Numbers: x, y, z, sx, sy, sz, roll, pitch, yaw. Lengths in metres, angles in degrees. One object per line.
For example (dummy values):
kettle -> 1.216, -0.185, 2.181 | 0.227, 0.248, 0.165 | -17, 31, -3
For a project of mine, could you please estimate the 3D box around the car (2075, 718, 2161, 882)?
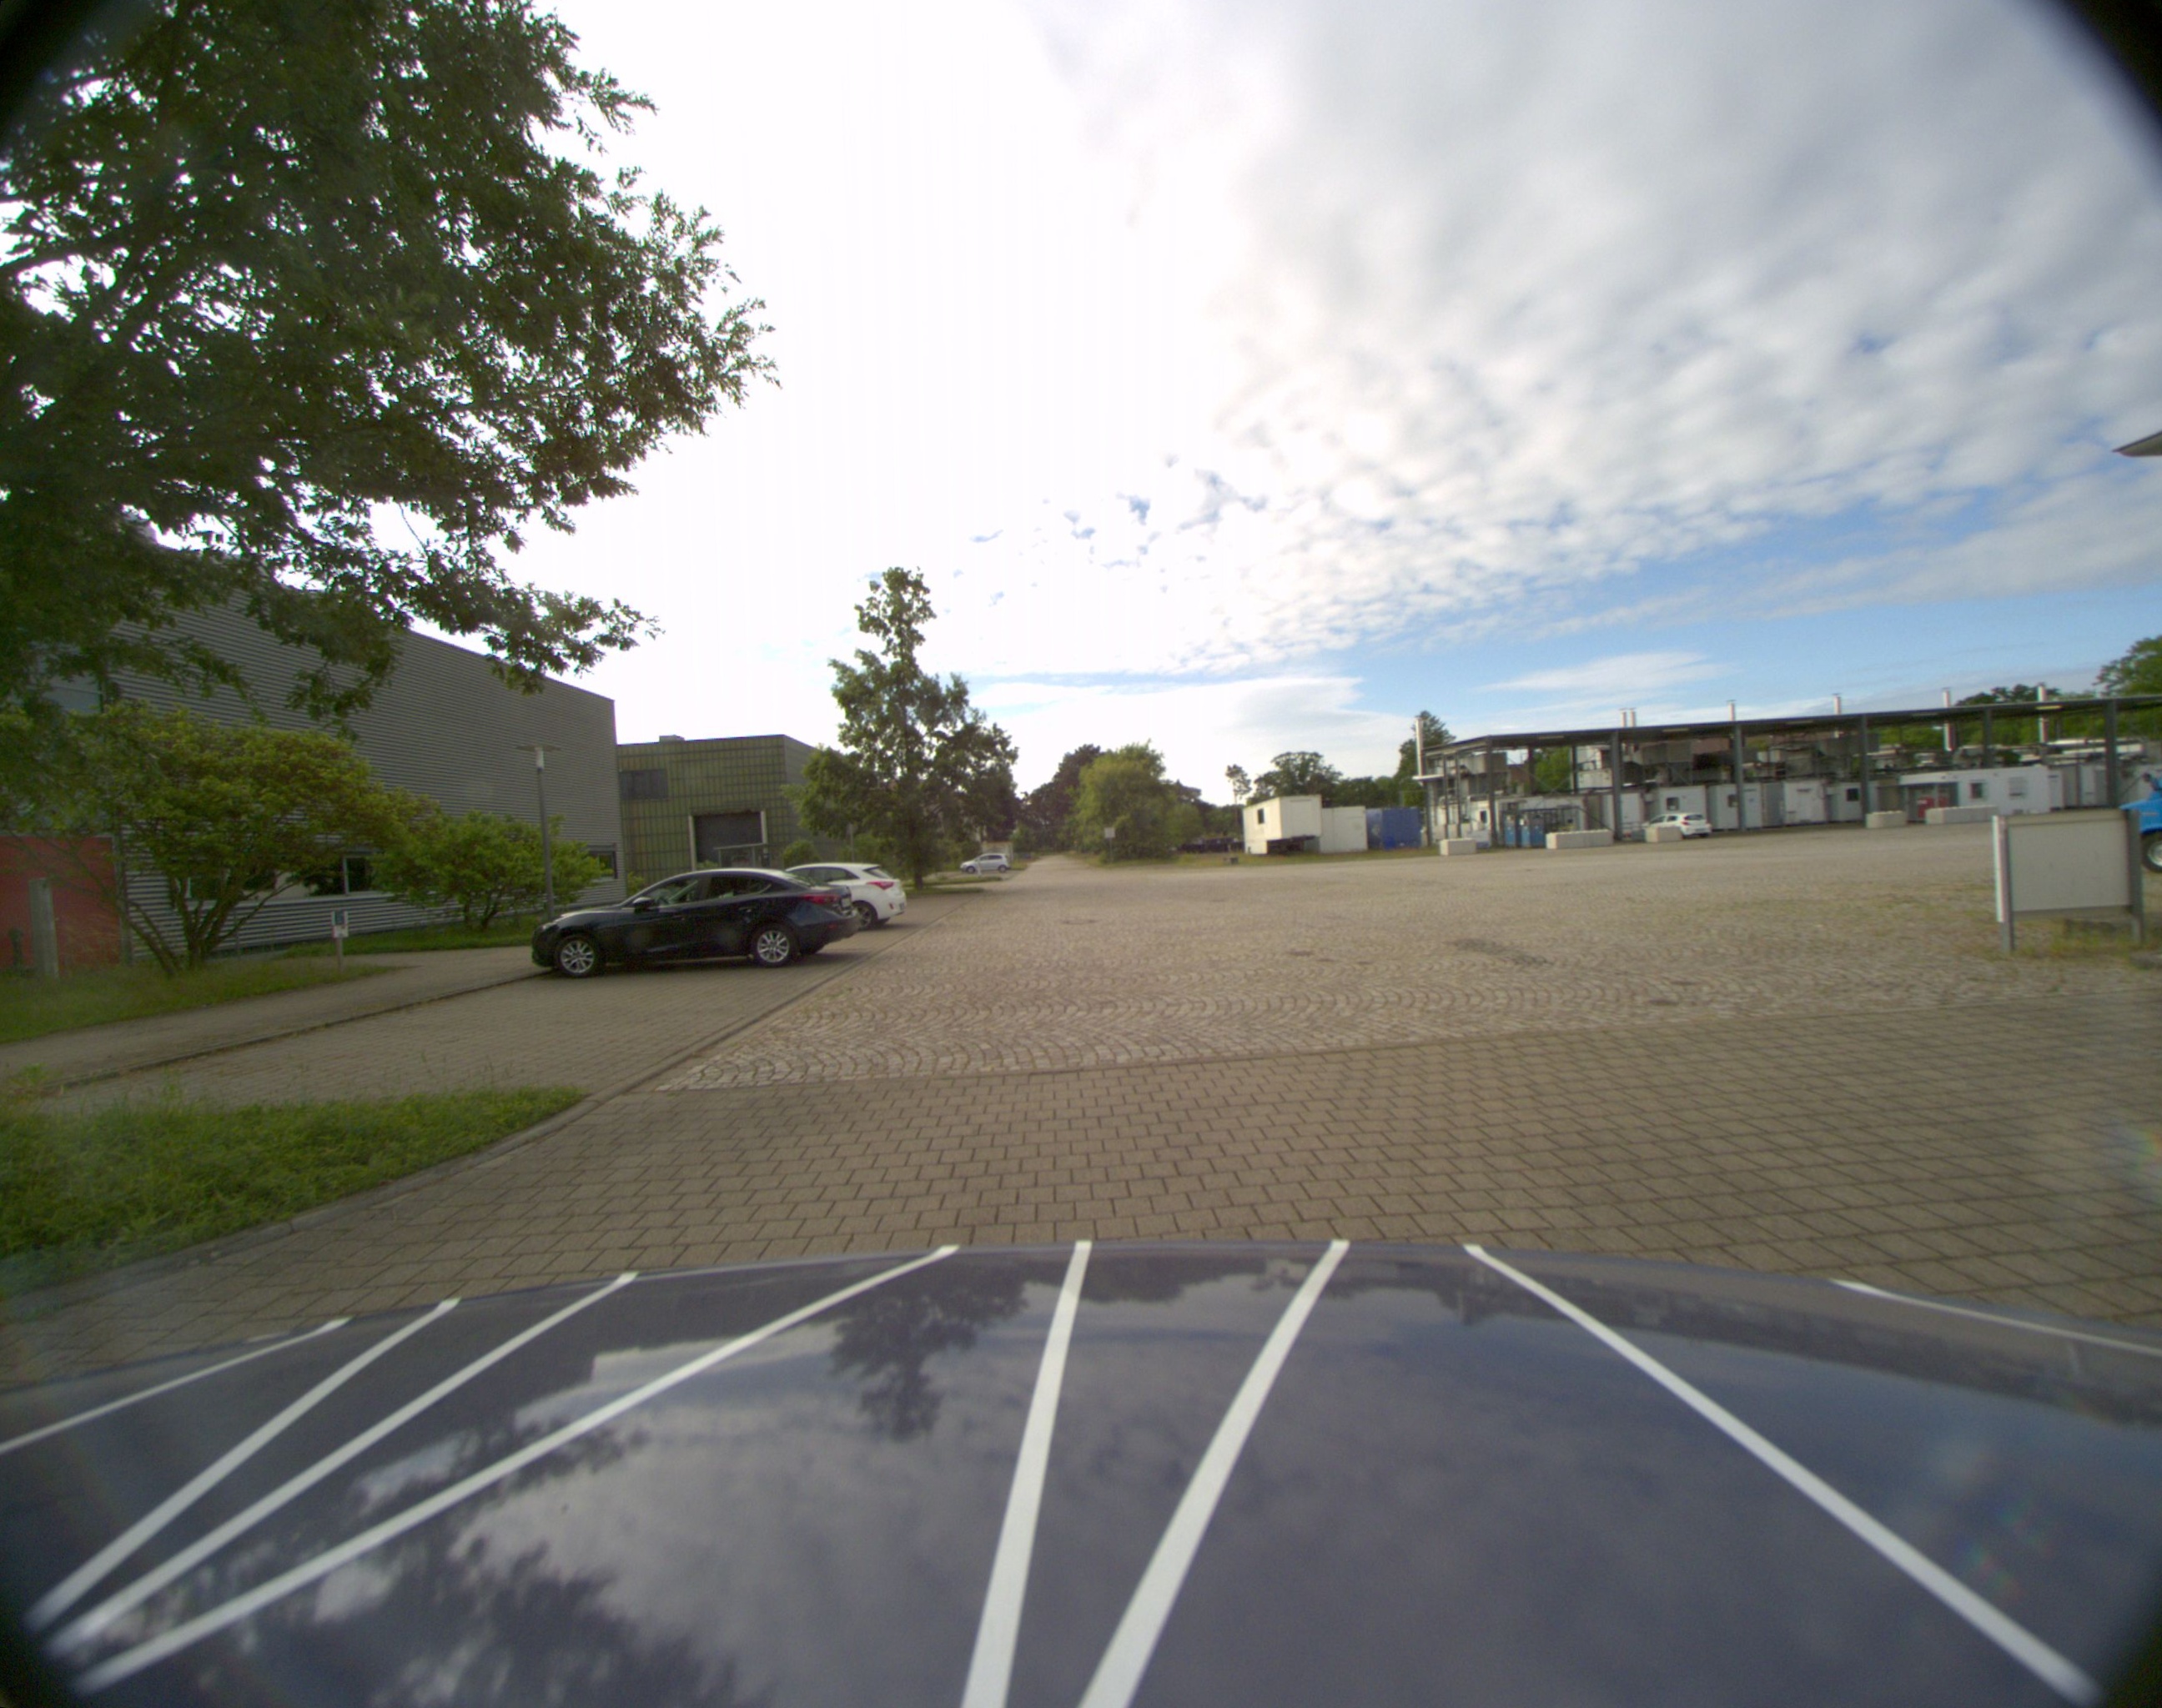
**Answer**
car -> 17.950, -0.916, 10.231 | 1.998, 2.567, 5.398 | -3, 0, 1

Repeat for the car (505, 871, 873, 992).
car -> -5.656, 1.088, 11.476 | 4.476, 1.439, 1.944 | -2, 1, -2

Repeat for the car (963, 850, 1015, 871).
car -> -7.548, 0.527, 62.855 | 4.133, 1.615, 1.938 | -2, 1, -4

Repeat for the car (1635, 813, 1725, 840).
car -> 34.753, -1.569, 44.226 | 1.933, 1.464, 3.998 | -2, 1, -4

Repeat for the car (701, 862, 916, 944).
car -> -5.848, 1.030, 16.703 | 3.986, 1.458, 1.882 | -3, 1, -2

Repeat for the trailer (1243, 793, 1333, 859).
trailer -> 13.248, -1.673, 49.775 | 2.876, 3.641, 10.776 | -3, 0, 0
